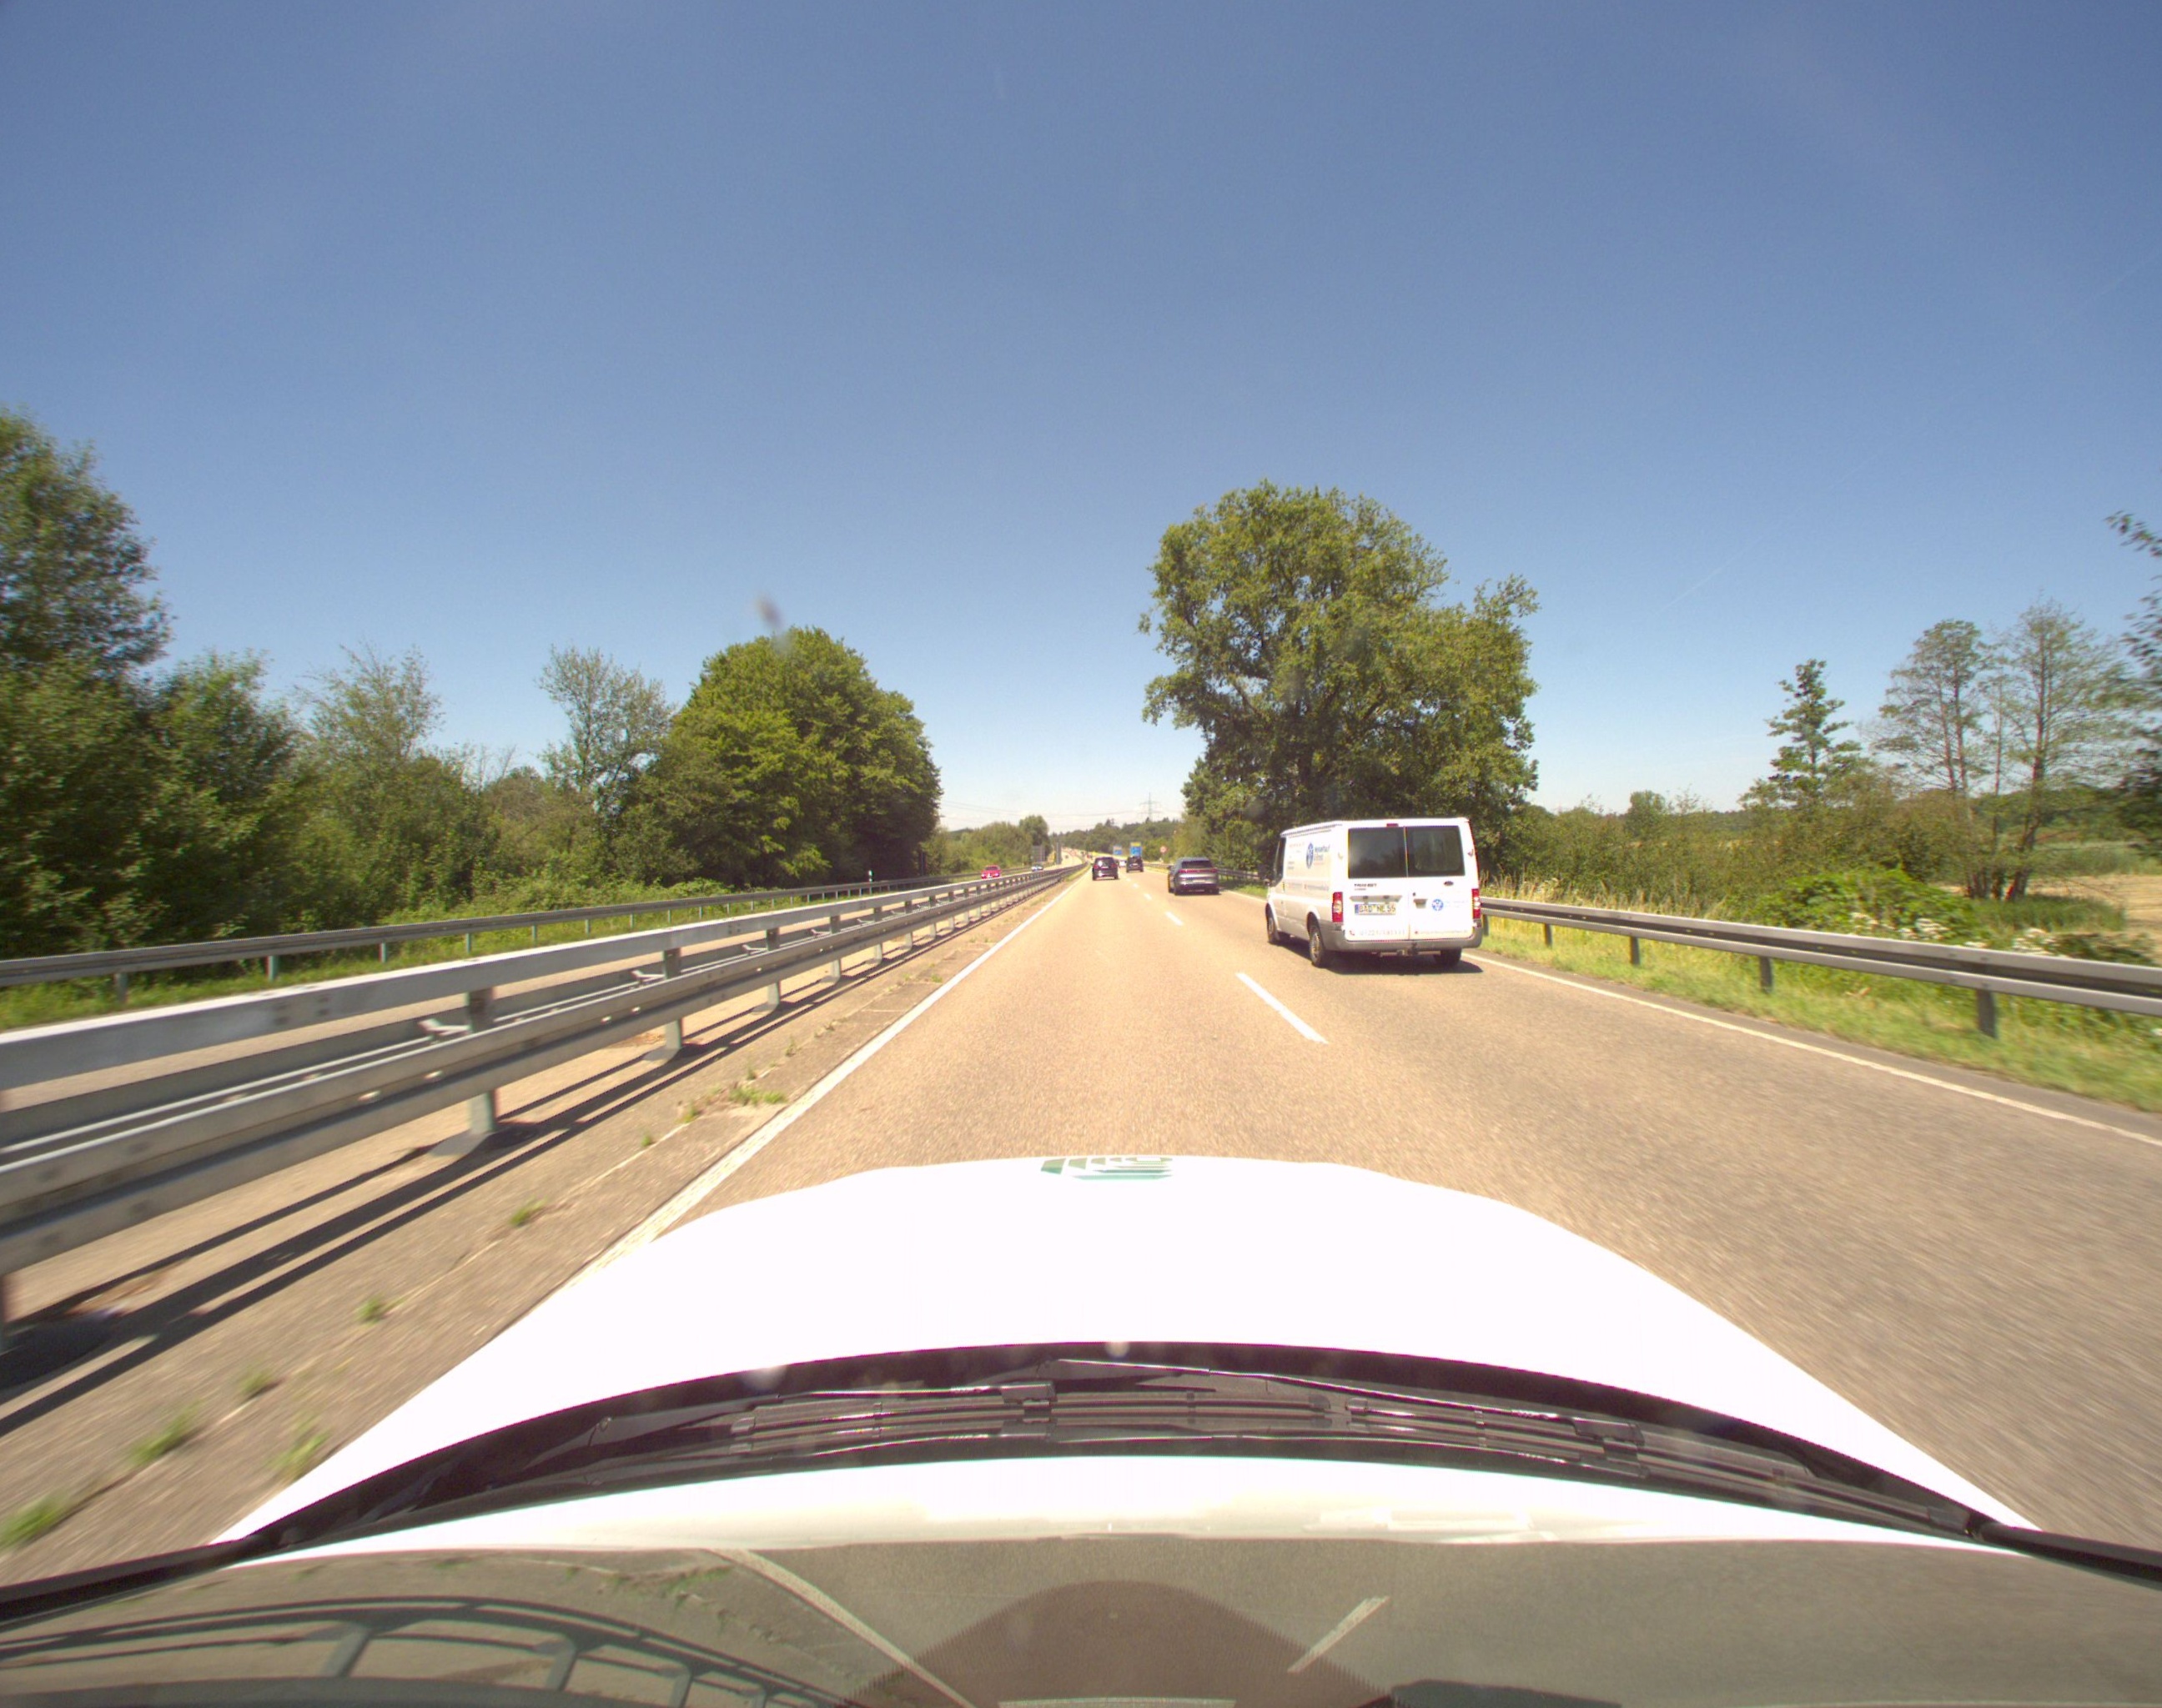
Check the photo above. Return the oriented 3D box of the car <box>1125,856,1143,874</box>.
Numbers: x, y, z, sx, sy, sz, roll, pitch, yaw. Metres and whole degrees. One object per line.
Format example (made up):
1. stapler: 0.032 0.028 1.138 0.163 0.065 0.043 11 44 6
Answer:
1. car: 5.752 1.139 88.749 1.773 1.817 4.214 -2 0 1

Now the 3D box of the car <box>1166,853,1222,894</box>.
1. car: 4.637 0.747 33.870 1.779 1.553 4.019 -1 0 0

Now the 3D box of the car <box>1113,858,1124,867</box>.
1. car: 6.804 1.534 147.653 1.813 1.414 4.000 -3 0 1

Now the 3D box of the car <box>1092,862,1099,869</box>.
1. car: 3.160 2.426 176.985 1.510 1.475 3.065 0 0 0

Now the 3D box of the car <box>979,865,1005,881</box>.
1. car: -8.377 1.788 76.706 1.769 1.419 4.576 -2 -1 1

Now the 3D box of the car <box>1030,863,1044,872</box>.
1. car: -6.995 2.119 129.140 1.790 1.468 3.775 0 0 2

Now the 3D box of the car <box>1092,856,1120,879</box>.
1. car: 1.822 0.986 60.935 1.987 1.654 3.999 0 0 0

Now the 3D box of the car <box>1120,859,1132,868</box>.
1. car: 7.392 1.610 134.830 1.773 1.479 4.314 0 0 0

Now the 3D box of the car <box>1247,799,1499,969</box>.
1. car: 4.104 0.409 12.530 1.999 1.989 5.033 -3 -1 0
